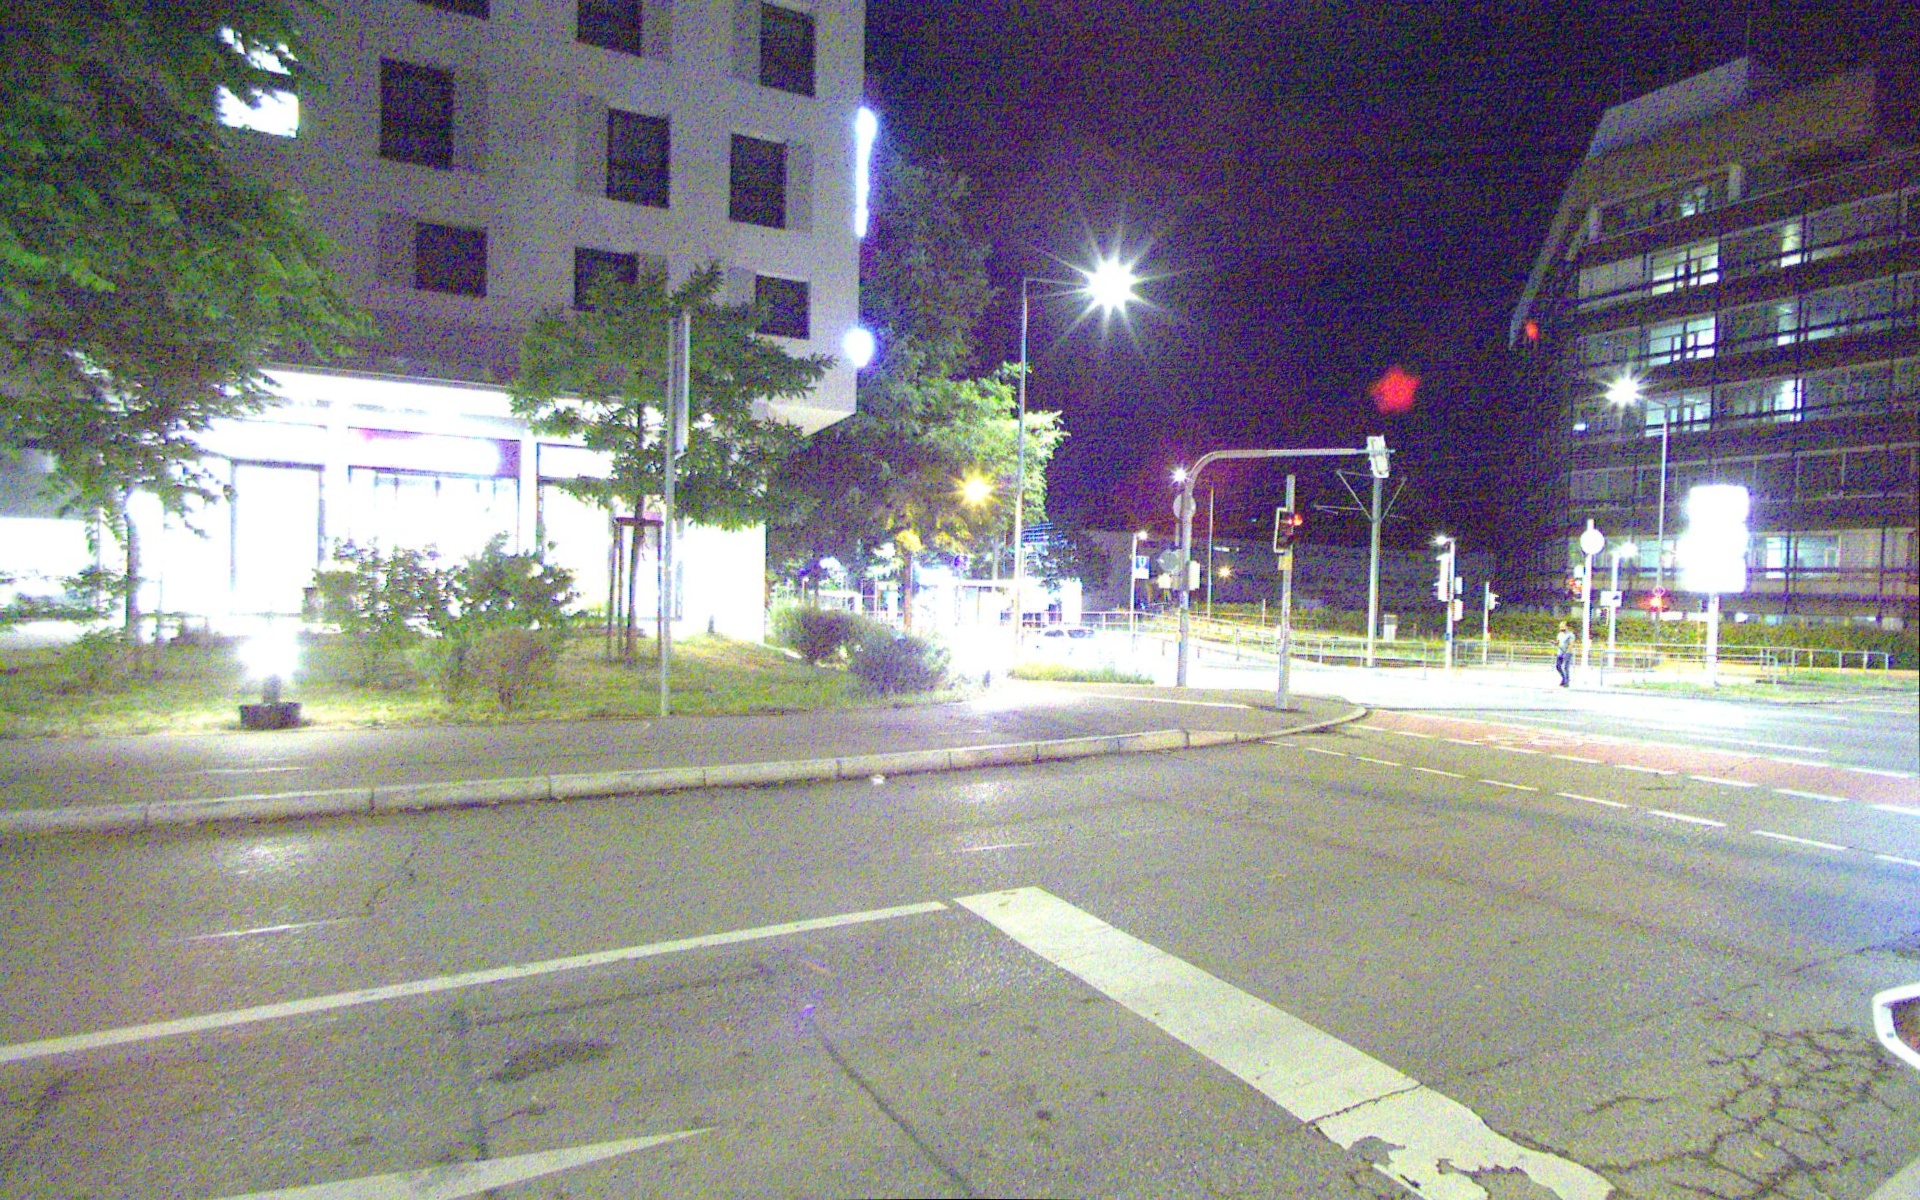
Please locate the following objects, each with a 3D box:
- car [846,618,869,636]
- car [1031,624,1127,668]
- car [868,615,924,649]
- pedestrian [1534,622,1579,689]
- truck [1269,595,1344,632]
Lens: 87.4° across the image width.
[{"bbox_3d":[-12.994,3.425,126.883,1.970,2.040,3.982,2,-3,-20],"label":"car"},{"bbox_3d":[4.414,1.680,38.001,1.793,1.522,4.177,0,-1,-23],"label":"car"},{"bbox_3d":[-3.273,1.667,50.735,1.877,1.591,3.985,2,-4,-18],"label":"car"},{"bbox_3d":[15.313,1.417,25.771,0.854,1.656,0.665,2,0,-34],"label":"pedestrian"},{"bbox_3d":[30.838,1.177,89.655,2.877,3.129,5.873,2,0,-28],"label":"truck"}]
